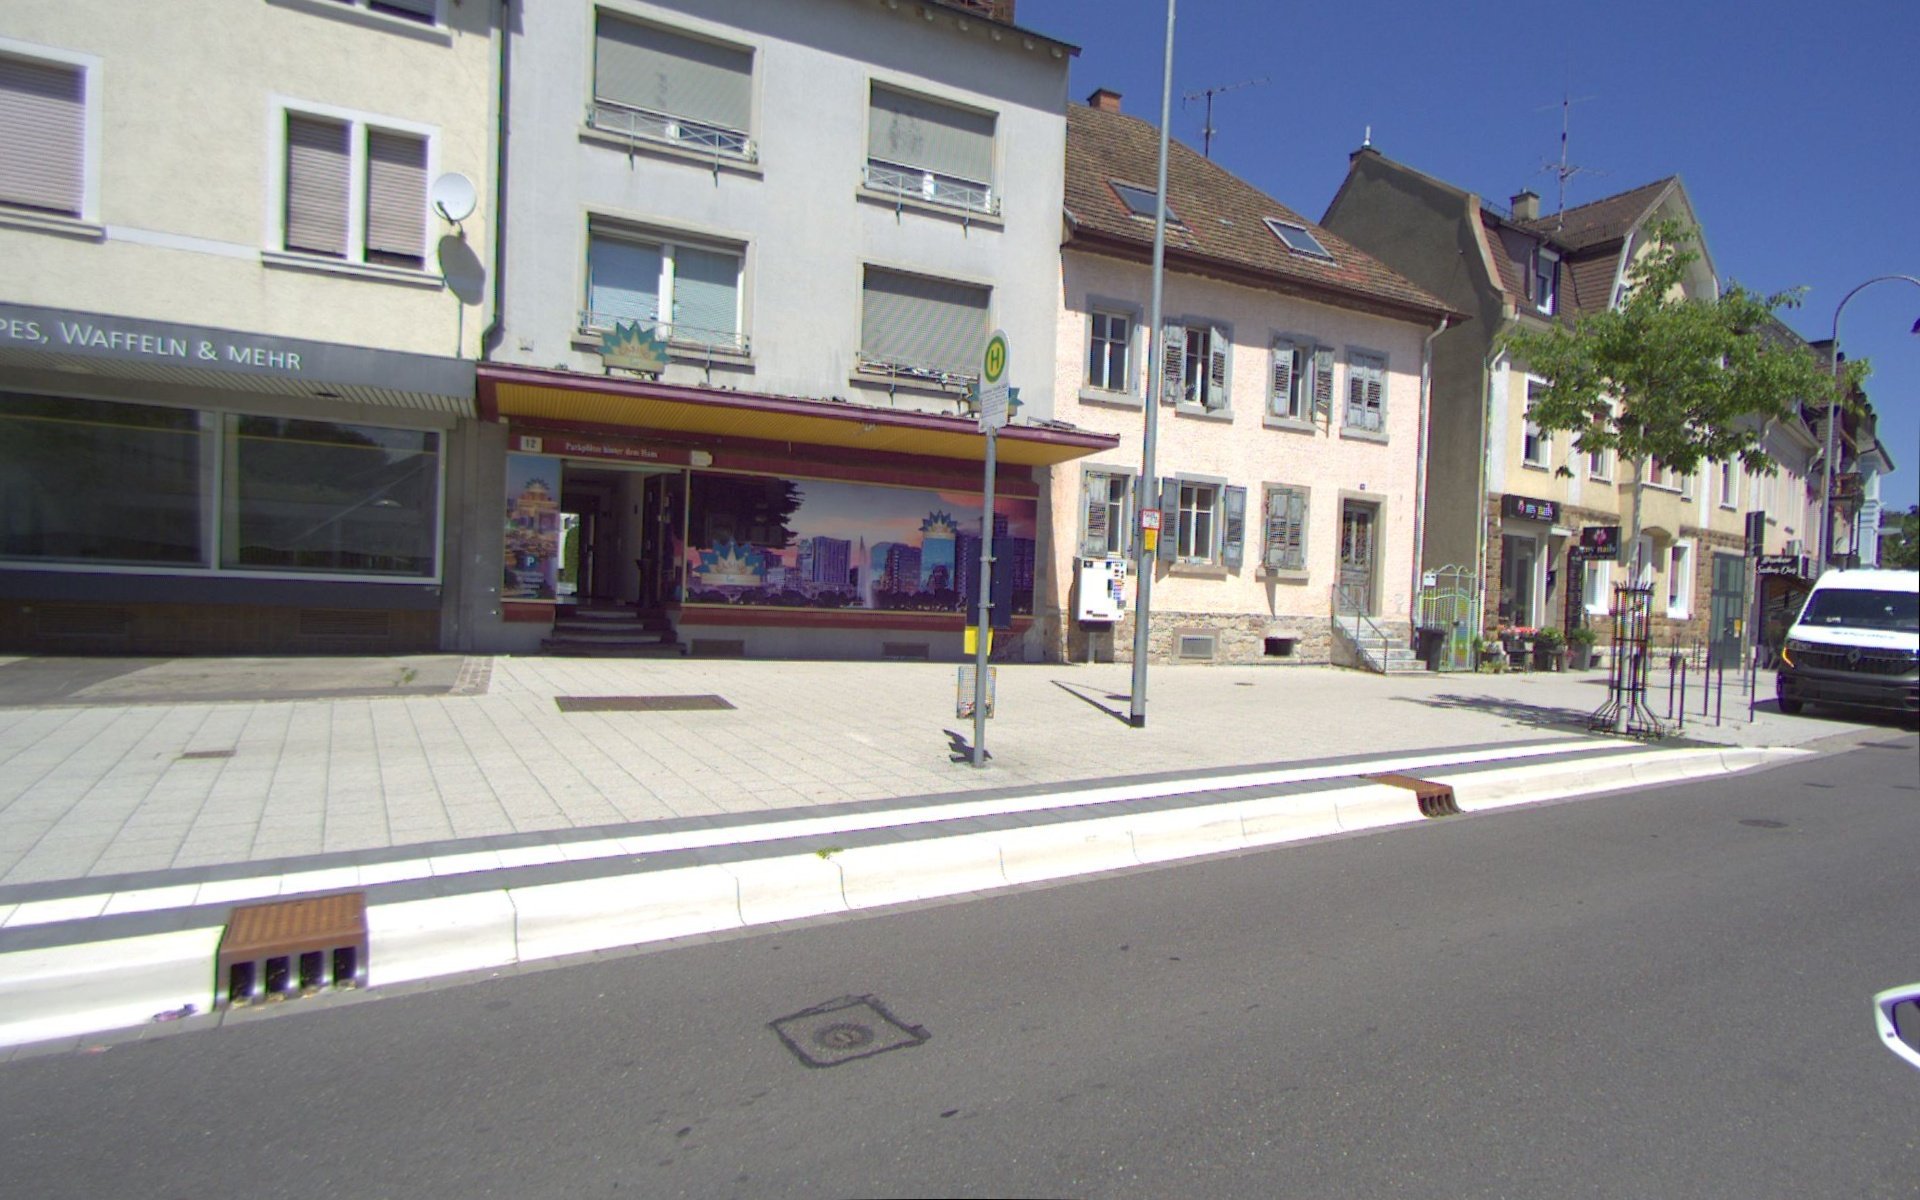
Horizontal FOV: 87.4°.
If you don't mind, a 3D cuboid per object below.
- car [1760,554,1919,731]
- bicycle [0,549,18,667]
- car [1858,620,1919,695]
[{"bbox_3d":[15.590,0.659,16.910,5.457,2.531,2.075,2,2,-39],"label":"car"},{"bbox_3d":[-10.372,0.114,10.205,0.607,1.251,1.760,2,3,-24],"label":"bicycle"},{"bbox_3d":[21.482,1.303,22.570,3.490,1.541,1.545,3,1,-42],"label":"car"}]
